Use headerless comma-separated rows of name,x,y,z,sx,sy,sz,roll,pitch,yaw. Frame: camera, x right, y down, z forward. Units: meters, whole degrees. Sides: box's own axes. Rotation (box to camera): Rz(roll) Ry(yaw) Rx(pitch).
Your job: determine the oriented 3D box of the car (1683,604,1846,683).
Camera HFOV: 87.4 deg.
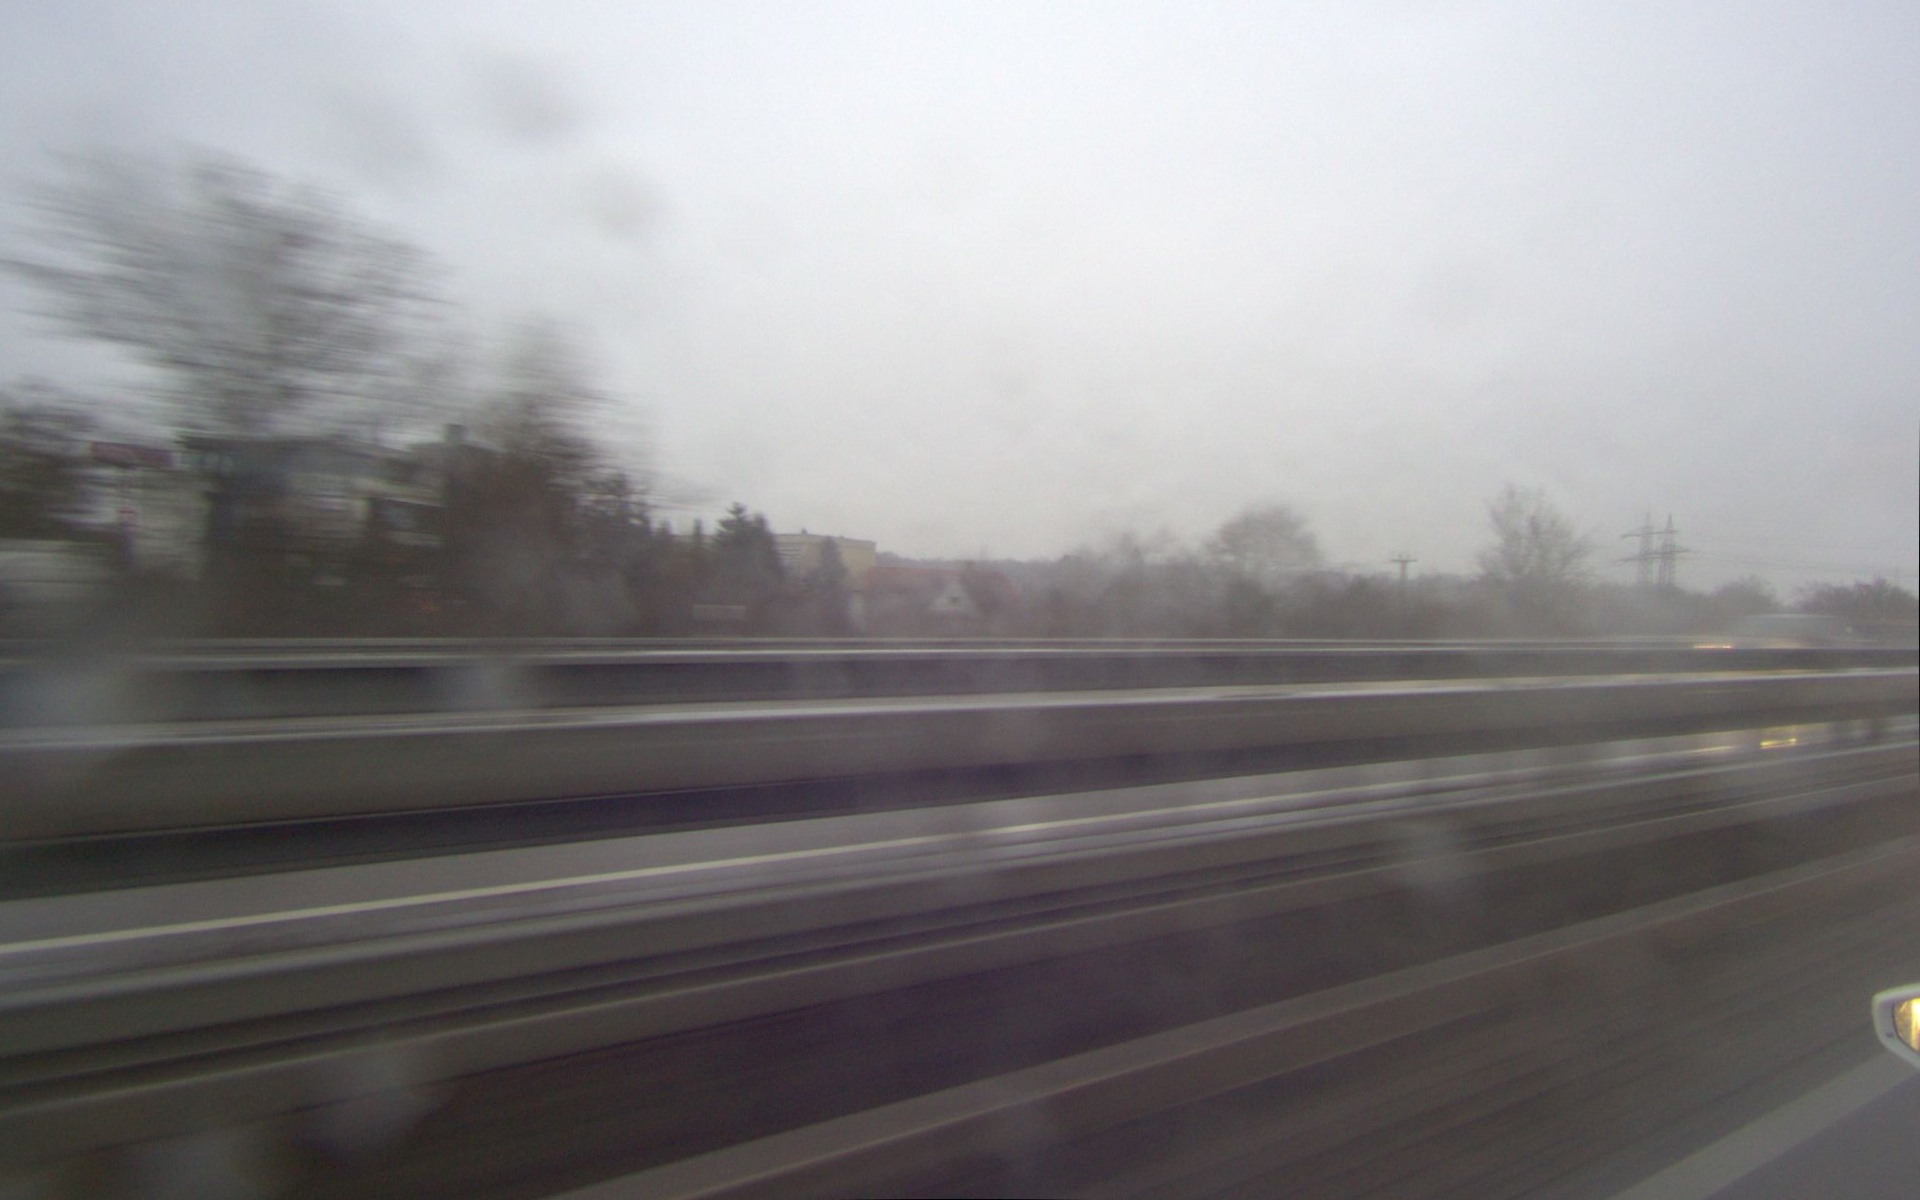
car,20.534,1.070,25.588,4.654,1.808,1.884,1,0,-33
